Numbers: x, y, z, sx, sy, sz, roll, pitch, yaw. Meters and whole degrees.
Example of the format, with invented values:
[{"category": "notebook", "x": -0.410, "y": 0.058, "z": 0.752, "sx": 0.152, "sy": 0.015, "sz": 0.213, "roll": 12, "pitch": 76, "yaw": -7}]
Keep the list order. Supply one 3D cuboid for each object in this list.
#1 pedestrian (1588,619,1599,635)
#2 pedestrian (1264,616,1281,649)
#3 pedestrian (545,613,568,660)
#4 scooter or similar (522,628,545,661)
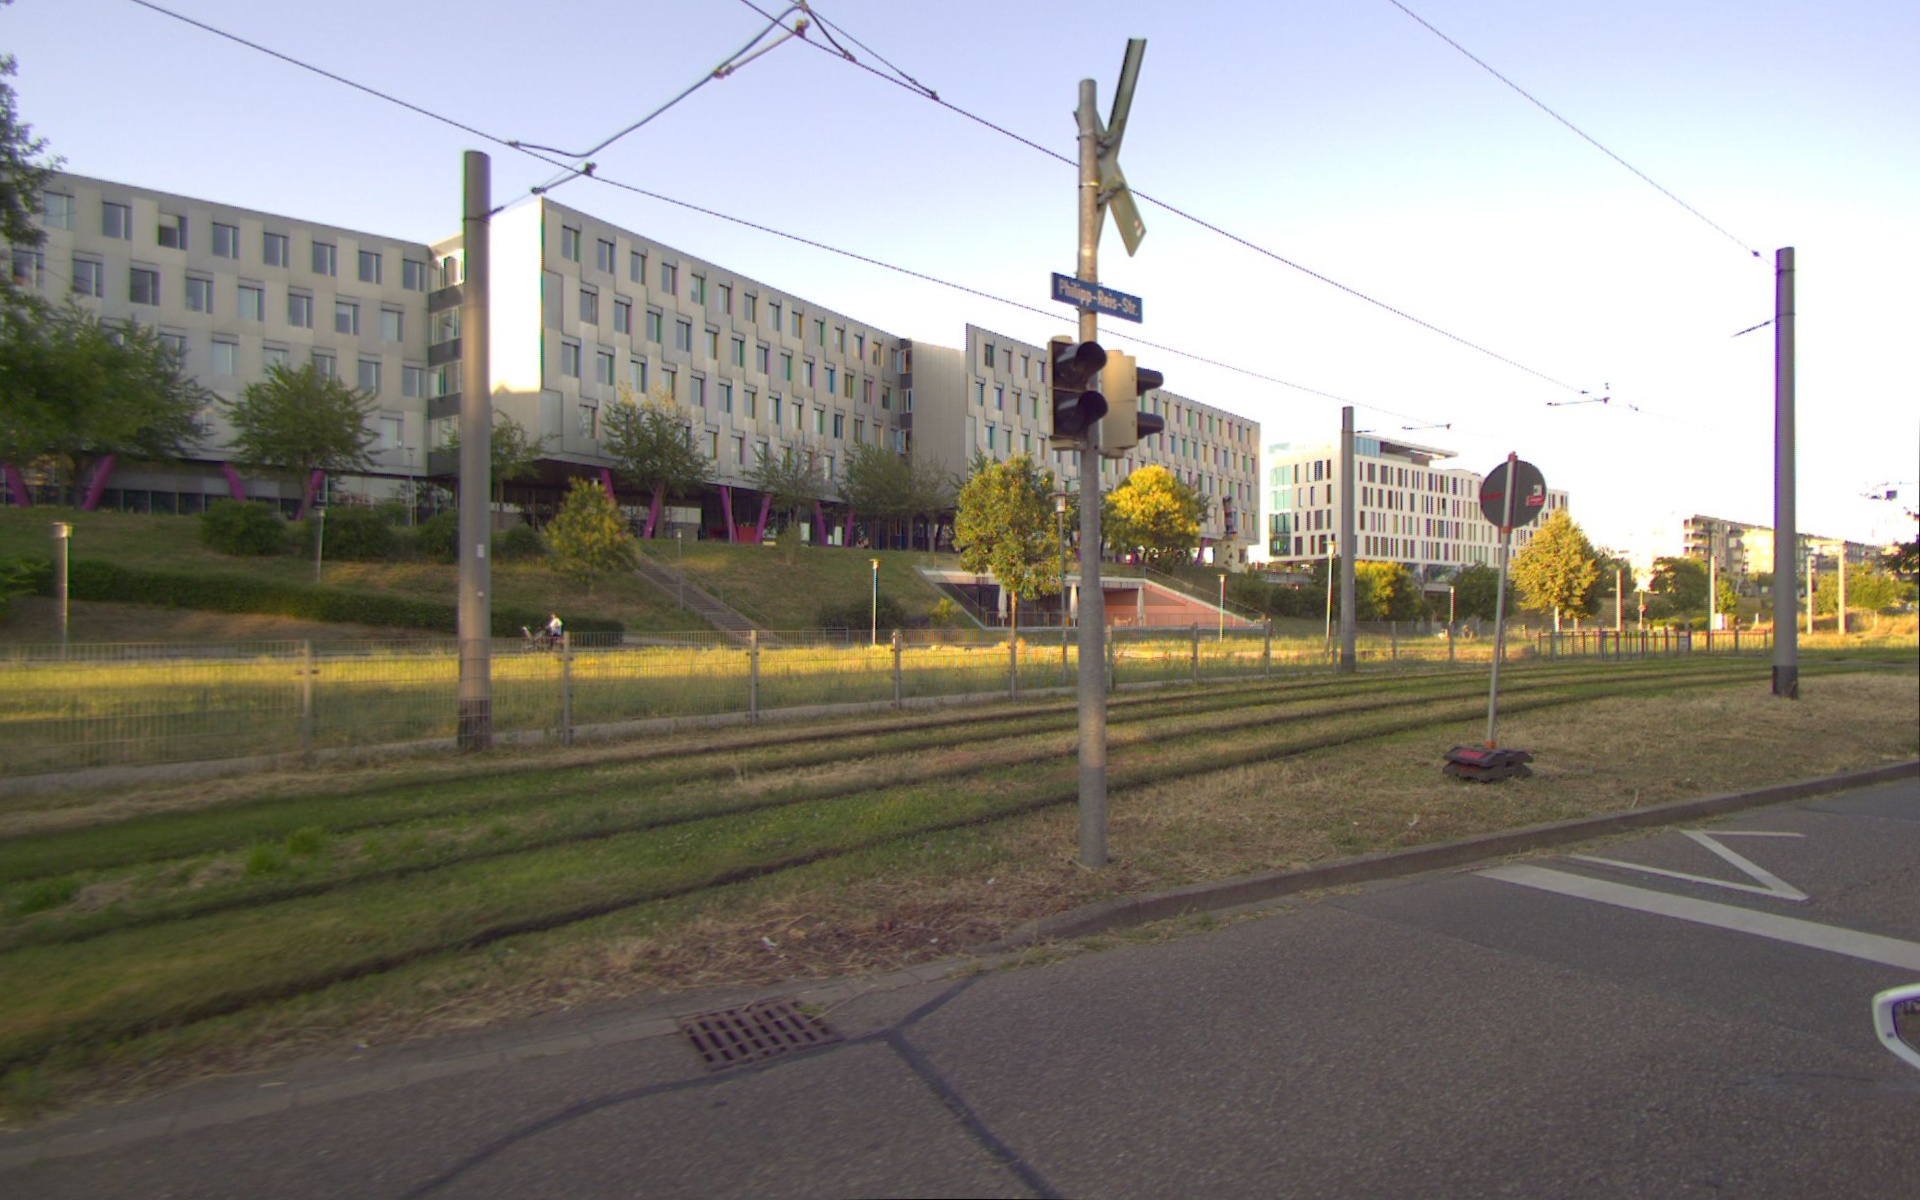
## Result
[{"category": "pedestrian", "x": 73.293, "y": 3.154, "z": 116.221, "sx": 0.803, "sy": 1.810, "sz": 0.784, "roll": 0, "pitch": -1, "yaw": -27}, {"category": "pedestrian", "x": 20.249, "y": 2.080, "z": 65.070, "sx": 0.781, "sy": 2.110, "sz": 0.613, "roll": 0, "pitch": 1, "yaw": -32}, {"category": "pedestrian", "x": -16.399, "y": 1.478, "z": 40.856, "sx": 0.781, "sy": 1.861, "sz": 0.613, "roll": 0, "pitch": 1, "yaw": -32}, {"category": "scooter or similar", "x": -17.115, "y": 1.772, "z": 40.311, "sx": 0.781, "sy": 1.260, "sz": 0.613, "roll": 0, "pitch": 1, "yaw": -32}]
